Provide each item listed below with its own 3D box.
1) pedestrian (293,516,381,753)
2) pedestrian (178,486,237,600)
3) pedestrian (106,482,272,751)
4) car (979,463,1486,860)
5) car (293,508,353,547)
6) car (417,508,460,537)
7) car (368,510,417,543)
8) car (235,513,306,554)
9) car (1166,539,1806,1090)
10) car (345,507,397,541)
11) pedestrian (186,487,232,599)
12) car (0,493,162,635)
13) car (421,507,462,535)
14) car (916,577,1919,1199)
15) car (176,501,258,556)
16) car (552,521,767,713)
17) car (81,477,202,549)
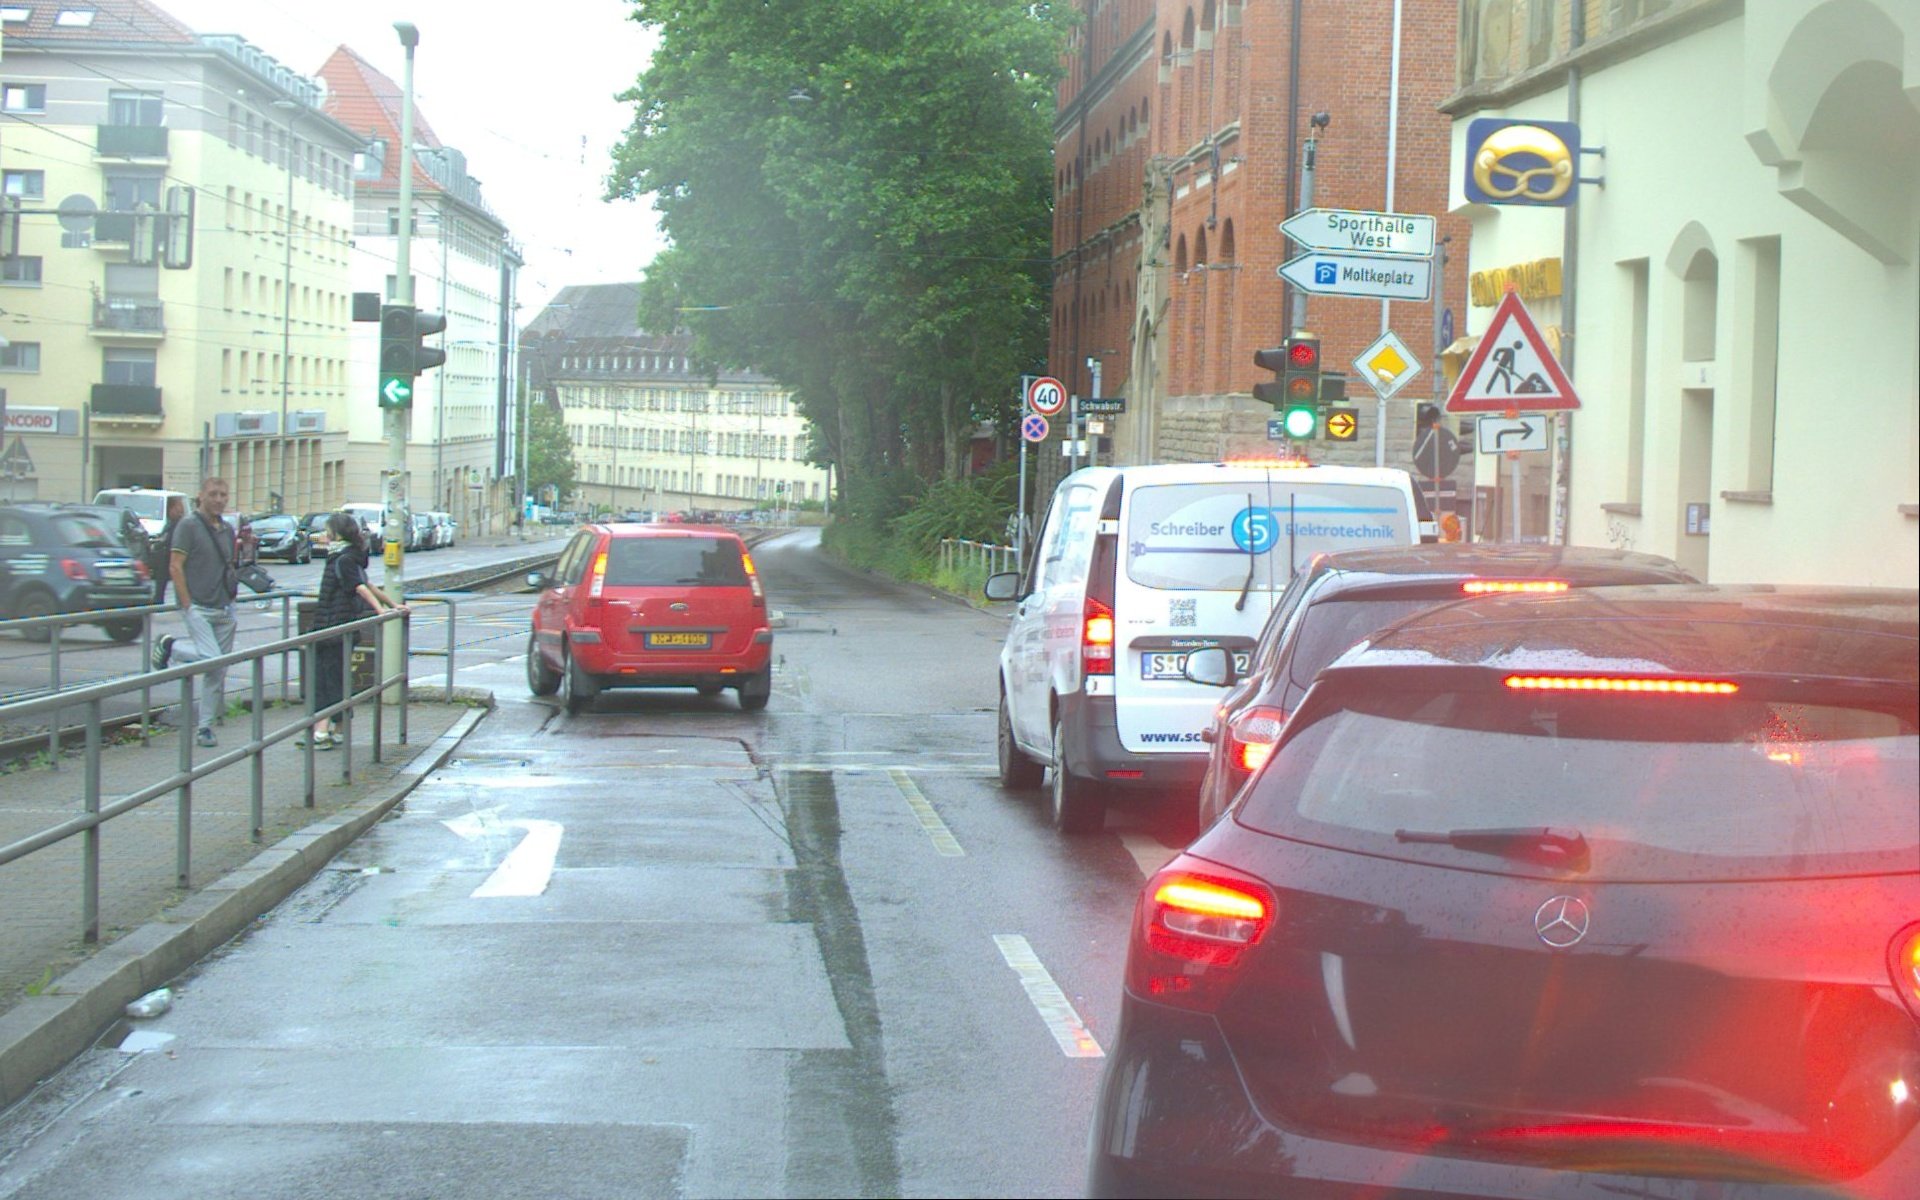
[{"bbox_3d":[-4.080,0.219,22.510,0.531,1.525,0.437,1,1,-10],"label":"pedestrian"},{"bbox_3d":[-11.067,-0.841,50.585,0.679,1.655,0.676,1,1,4],"label":"pedestrian"},{"bbox_3d":[-5.059,0.099,22.553,0.740,1.718,0.739,3,1,44],"label":"pedestrian"},{"bbox_3d":[1.298,0.234,18.283,1.933,1.825,4.282,1,1,-5],"label":"car"},{"bbox_3d":[-20.264,-2.315,109.440,1.395,1.167,3.162,1,1,-2],"label":"car"},{"bbox_3d":[-21.936,-3.263,144.676,1.395,1.167,3.162,1,1,-2],"label":"car"},{"bbox_3d":[-21.050,-2.734,127.495,1.395,1.167,3.162,1,1,-2],"label":"car"},{"bbox_3d":[-19.323,-1.863,96.430,1.437,1.103,3.162,1,1,-2],"label":"car"},{"bbox_3d":[1.628,0.551,11.652,1.713,1.464,4.280,2,1,5],"label":"car"},{"bbox_3d":[-20.703,-2.677,120.945,1.395,1.167,3.162,1,1,-2],"label":"car"},{"bbox_3d":[-11.256,-0.857,51.555,0.518,1.660,0.477,3,1,0],"label":"pedestrian"},{"bbox_3d":[-10.678,-0.443,38.454,3.156,1.484,1.422,3,2,24],"label":"car"},{"bbox_3d":[-22.476,-3.426,149.147,1.395,1.167,3.162,1,1,-2],"label":"car"},{"bbox_3d":[1.672,0.681,6.661,1.897,1.385,3.994,2,1,26],"label":"car"},{"bbox_3d":[-18.953,-1.832,87.788,1.499,1.351,3.162,1,1,-2],"label":"car"},{"bbox_3d":[-2.521,0.095,29.010,1.679,1.484,3.614,1,1,-5],"label":"car"},{"bbox_3d":[-18.360,-1.949,77.269,1.786,1.525,4.463,1,1,-2],"label":"car"}]
